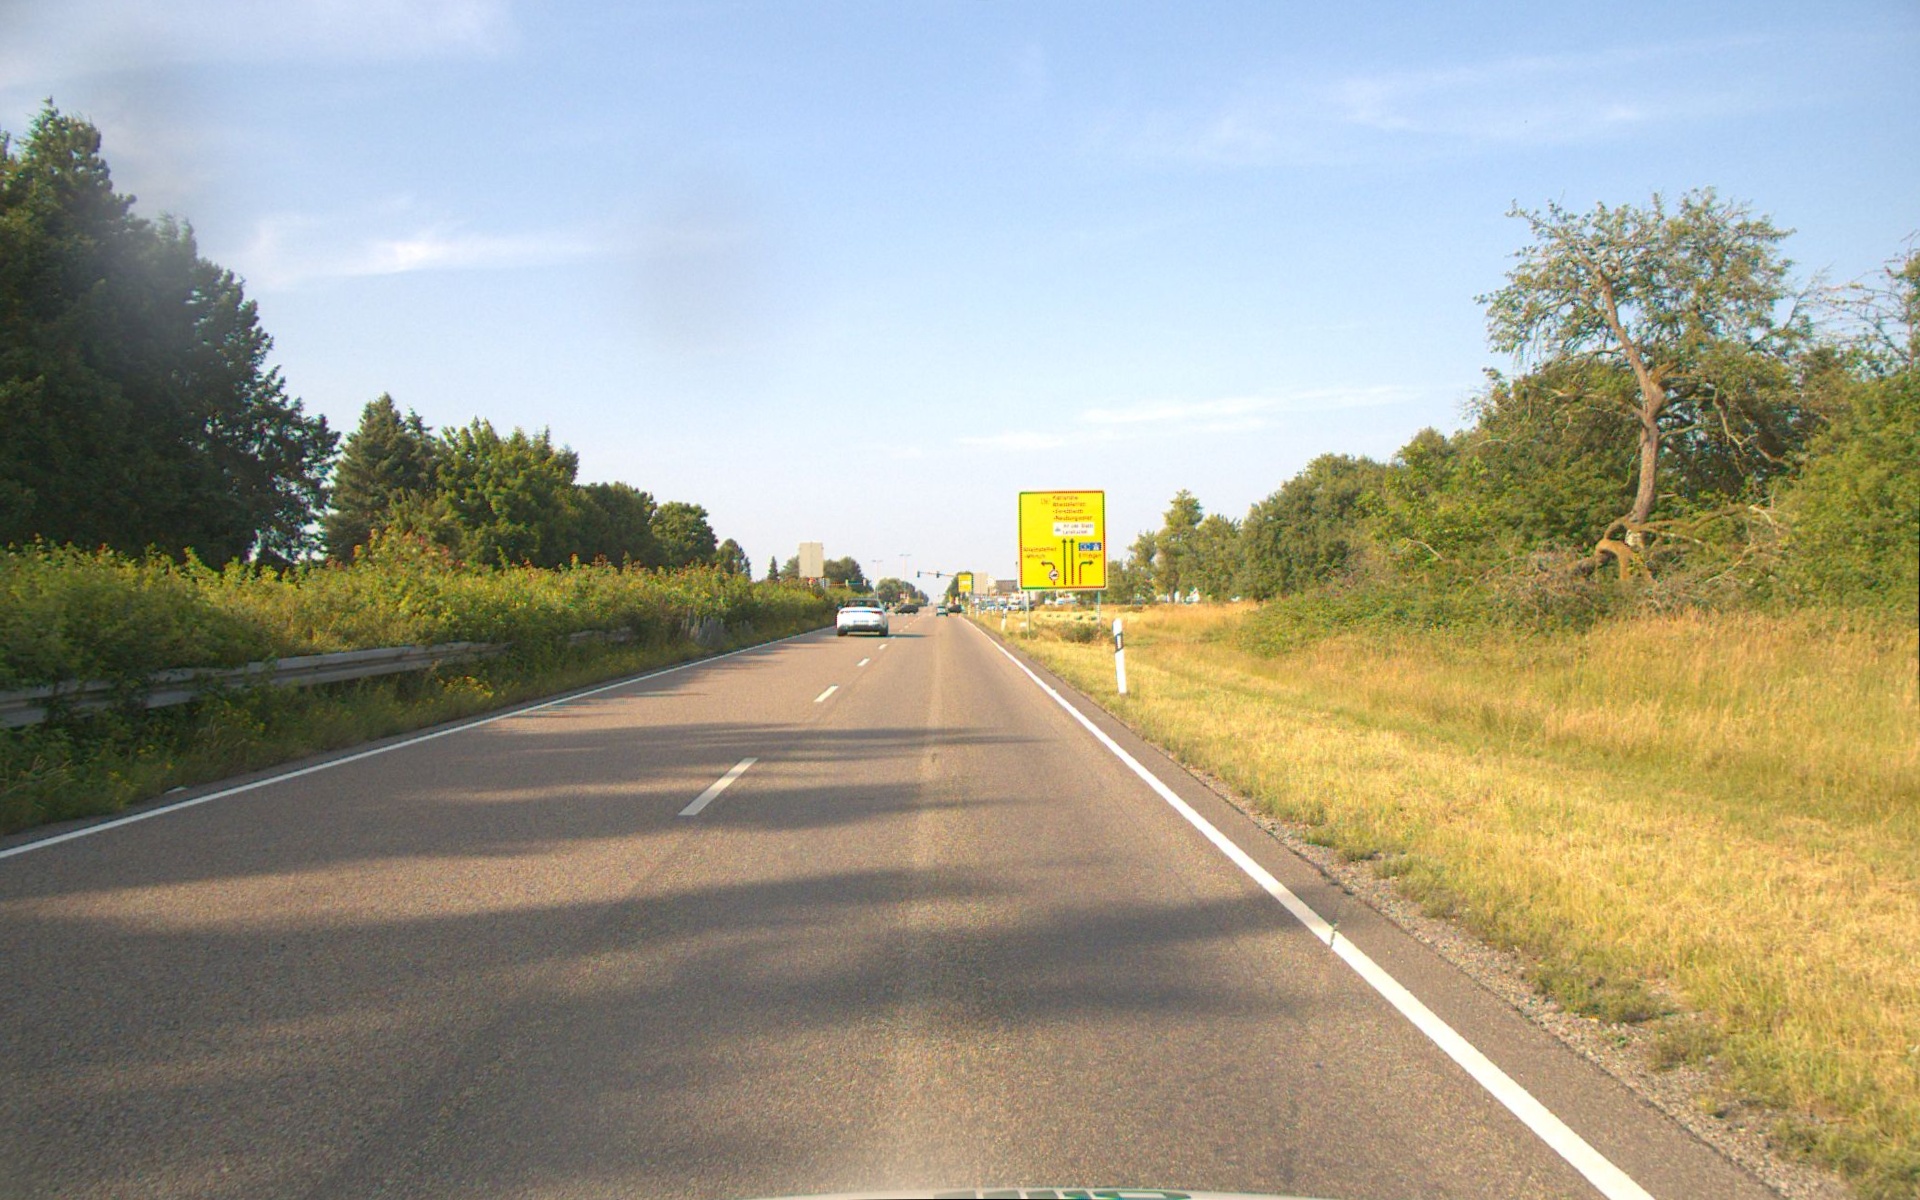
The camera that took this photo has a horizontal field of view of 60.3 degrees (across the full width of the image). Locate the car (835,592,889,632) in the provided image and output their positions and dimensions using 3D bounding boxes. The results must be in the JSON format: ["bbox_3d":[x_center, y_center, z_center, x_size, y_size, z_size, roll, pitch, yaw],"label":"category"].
[{"bbox_3d":[-3.642,0.435,61.972,1.871,1.447,3.999,0,0,-1],"label":"car"}]

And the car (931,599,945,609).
[{"bbox_3d":[-3.235,0.577,242.466,1.953,1.512,3.999,0,0,-1],"label":"car"}]
